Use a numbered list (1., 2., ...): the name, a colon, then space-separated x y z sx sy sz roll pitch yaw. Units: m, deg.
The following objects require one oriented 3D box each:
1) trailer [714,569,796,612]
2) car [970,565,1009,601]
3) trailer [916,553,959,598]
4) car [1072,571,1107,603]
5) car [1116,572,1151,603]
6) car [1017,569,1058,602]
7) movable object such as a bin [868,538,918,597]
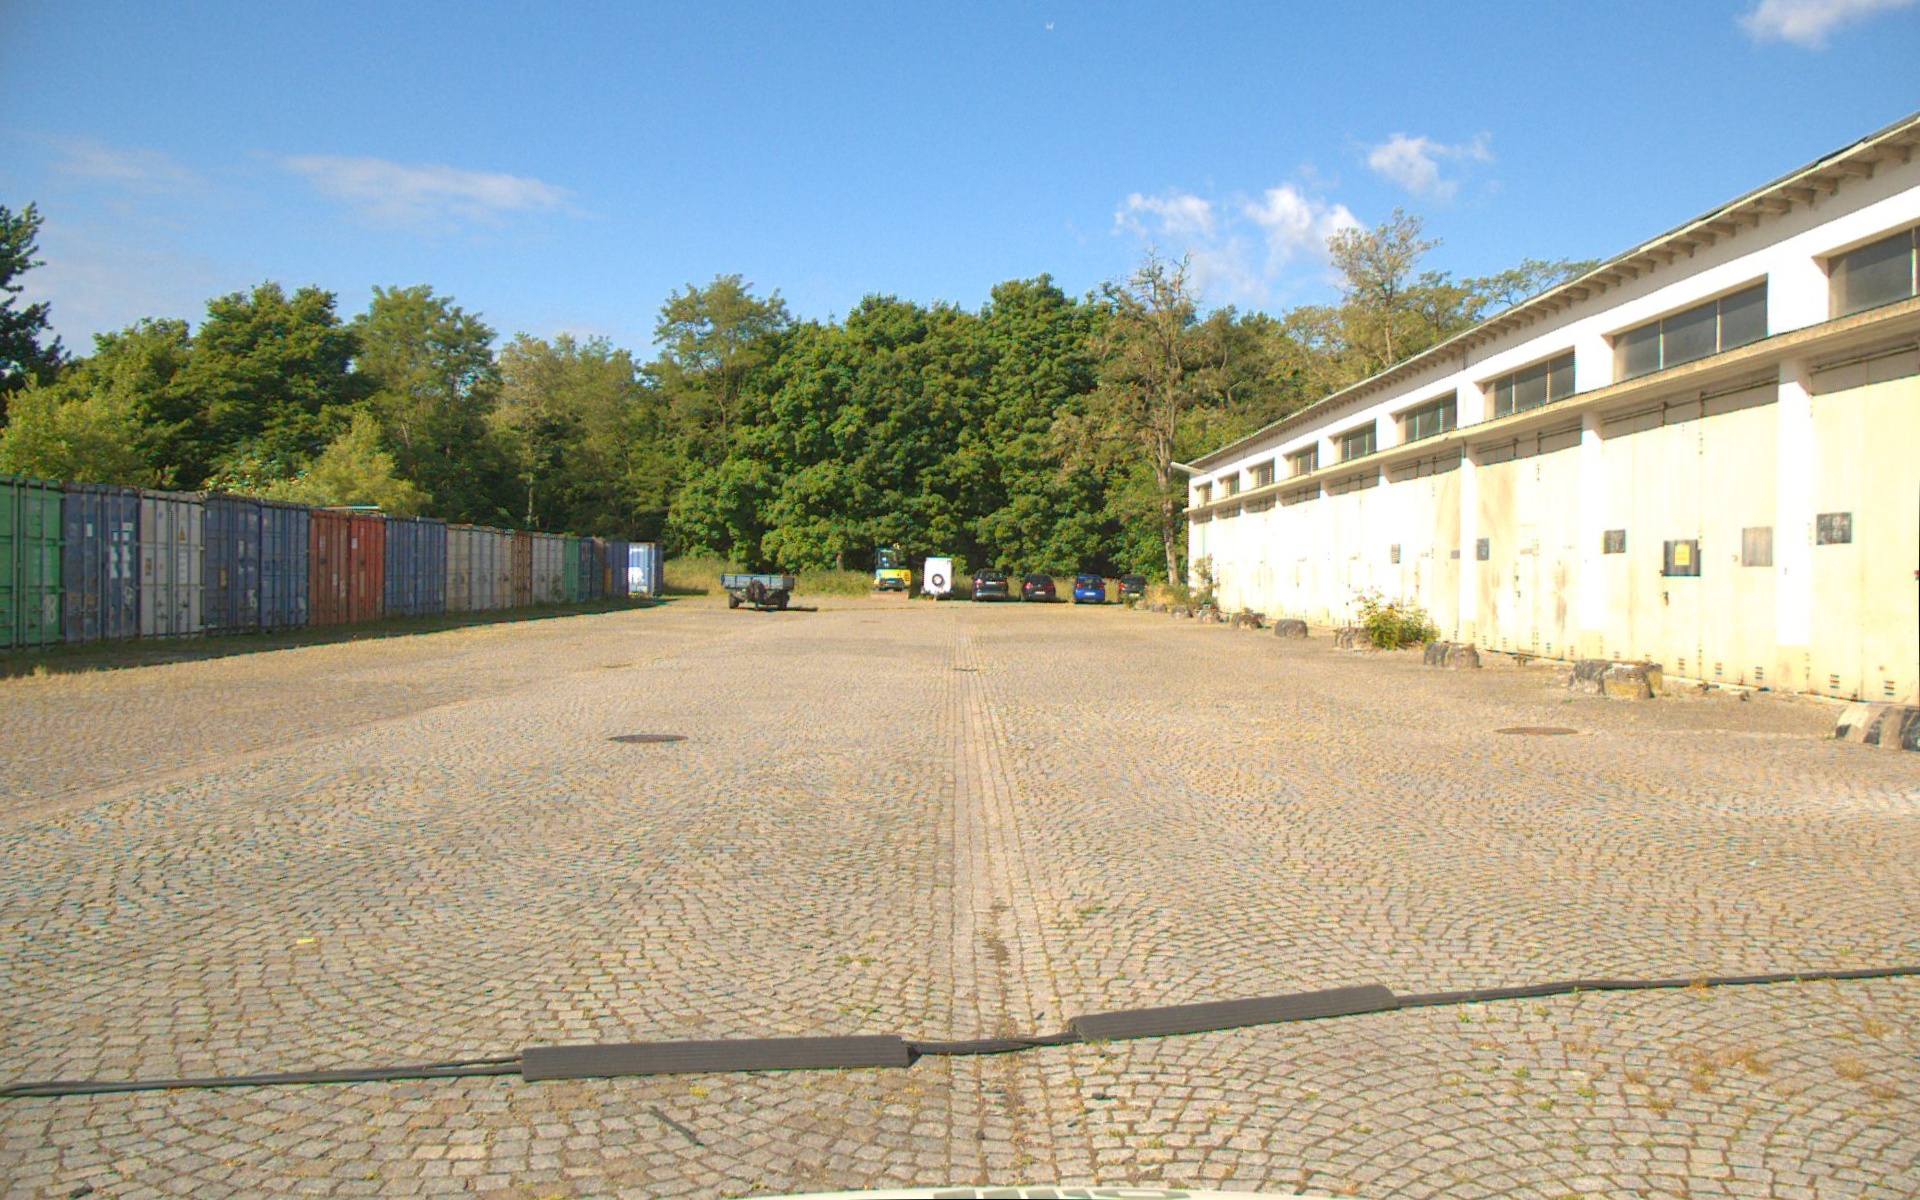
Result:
1. trailer: -8.160 -0.423 66.545 2.651 1.491 6.246 2 2 -2
2. car: 1.493 -0.887 84.330 1.826 1.616 4.296 2 2 -1
3. trailer: -1.161 -1.307 86.683 2.148 2.131 5.751 2 2 -1
4. car: 6.641 -0.679 84.681 1.707 1.461 4.186 2 2 5
5. car: 9.038 -0.673 86.110 1.707 1.461 4.187 2 2 6
6. car: 3.930 -0.765 84.720 1.826 1.495 4.296 2 2 -1
7. movable object such as a bin: -3.490 -1.750 87.252 2.259 2.946 5.752 2 2 0
